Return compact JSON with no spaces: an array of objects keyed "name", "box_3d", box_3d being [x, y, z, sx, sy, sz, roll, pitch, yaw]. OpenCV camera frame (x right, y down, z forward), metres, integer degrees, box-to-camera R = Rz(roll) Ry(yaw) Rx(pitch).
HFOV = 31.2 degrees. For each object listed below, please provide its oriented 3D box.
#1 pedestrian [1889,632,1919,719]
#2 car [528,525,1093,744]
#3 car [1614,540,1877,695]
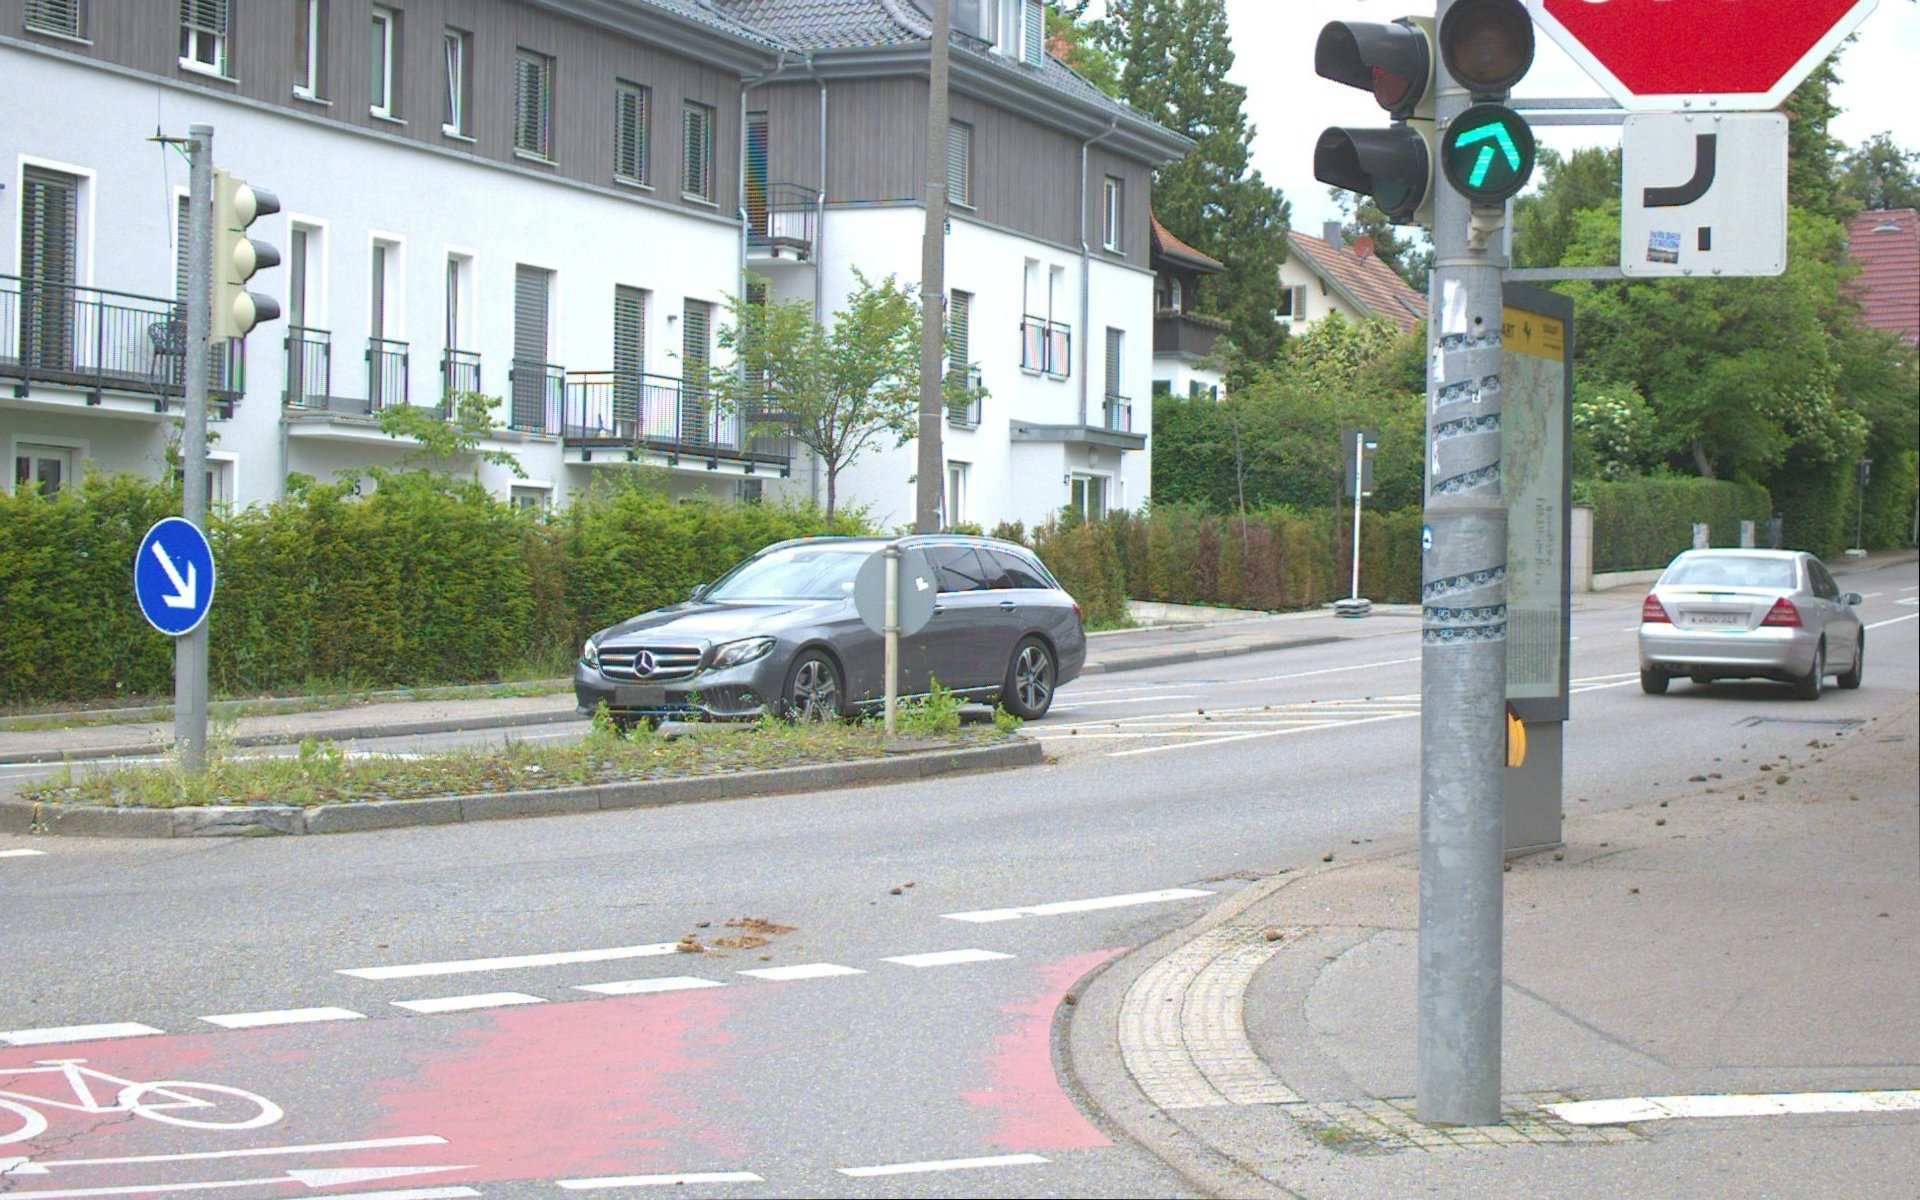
[{"name":"pedestrian","box_3d":[8.137,0.626,28.437,0.644,0.694,0.585,0,2,-19]},{"name":"car","box_3d":[-1.019,0.192,26.180,1.829,1.480,4.739,0,1,34]},{"name":"car","box_3d":[7.821,0.143,33.950,1.799,1.410,4.331,1,1,23]}]
